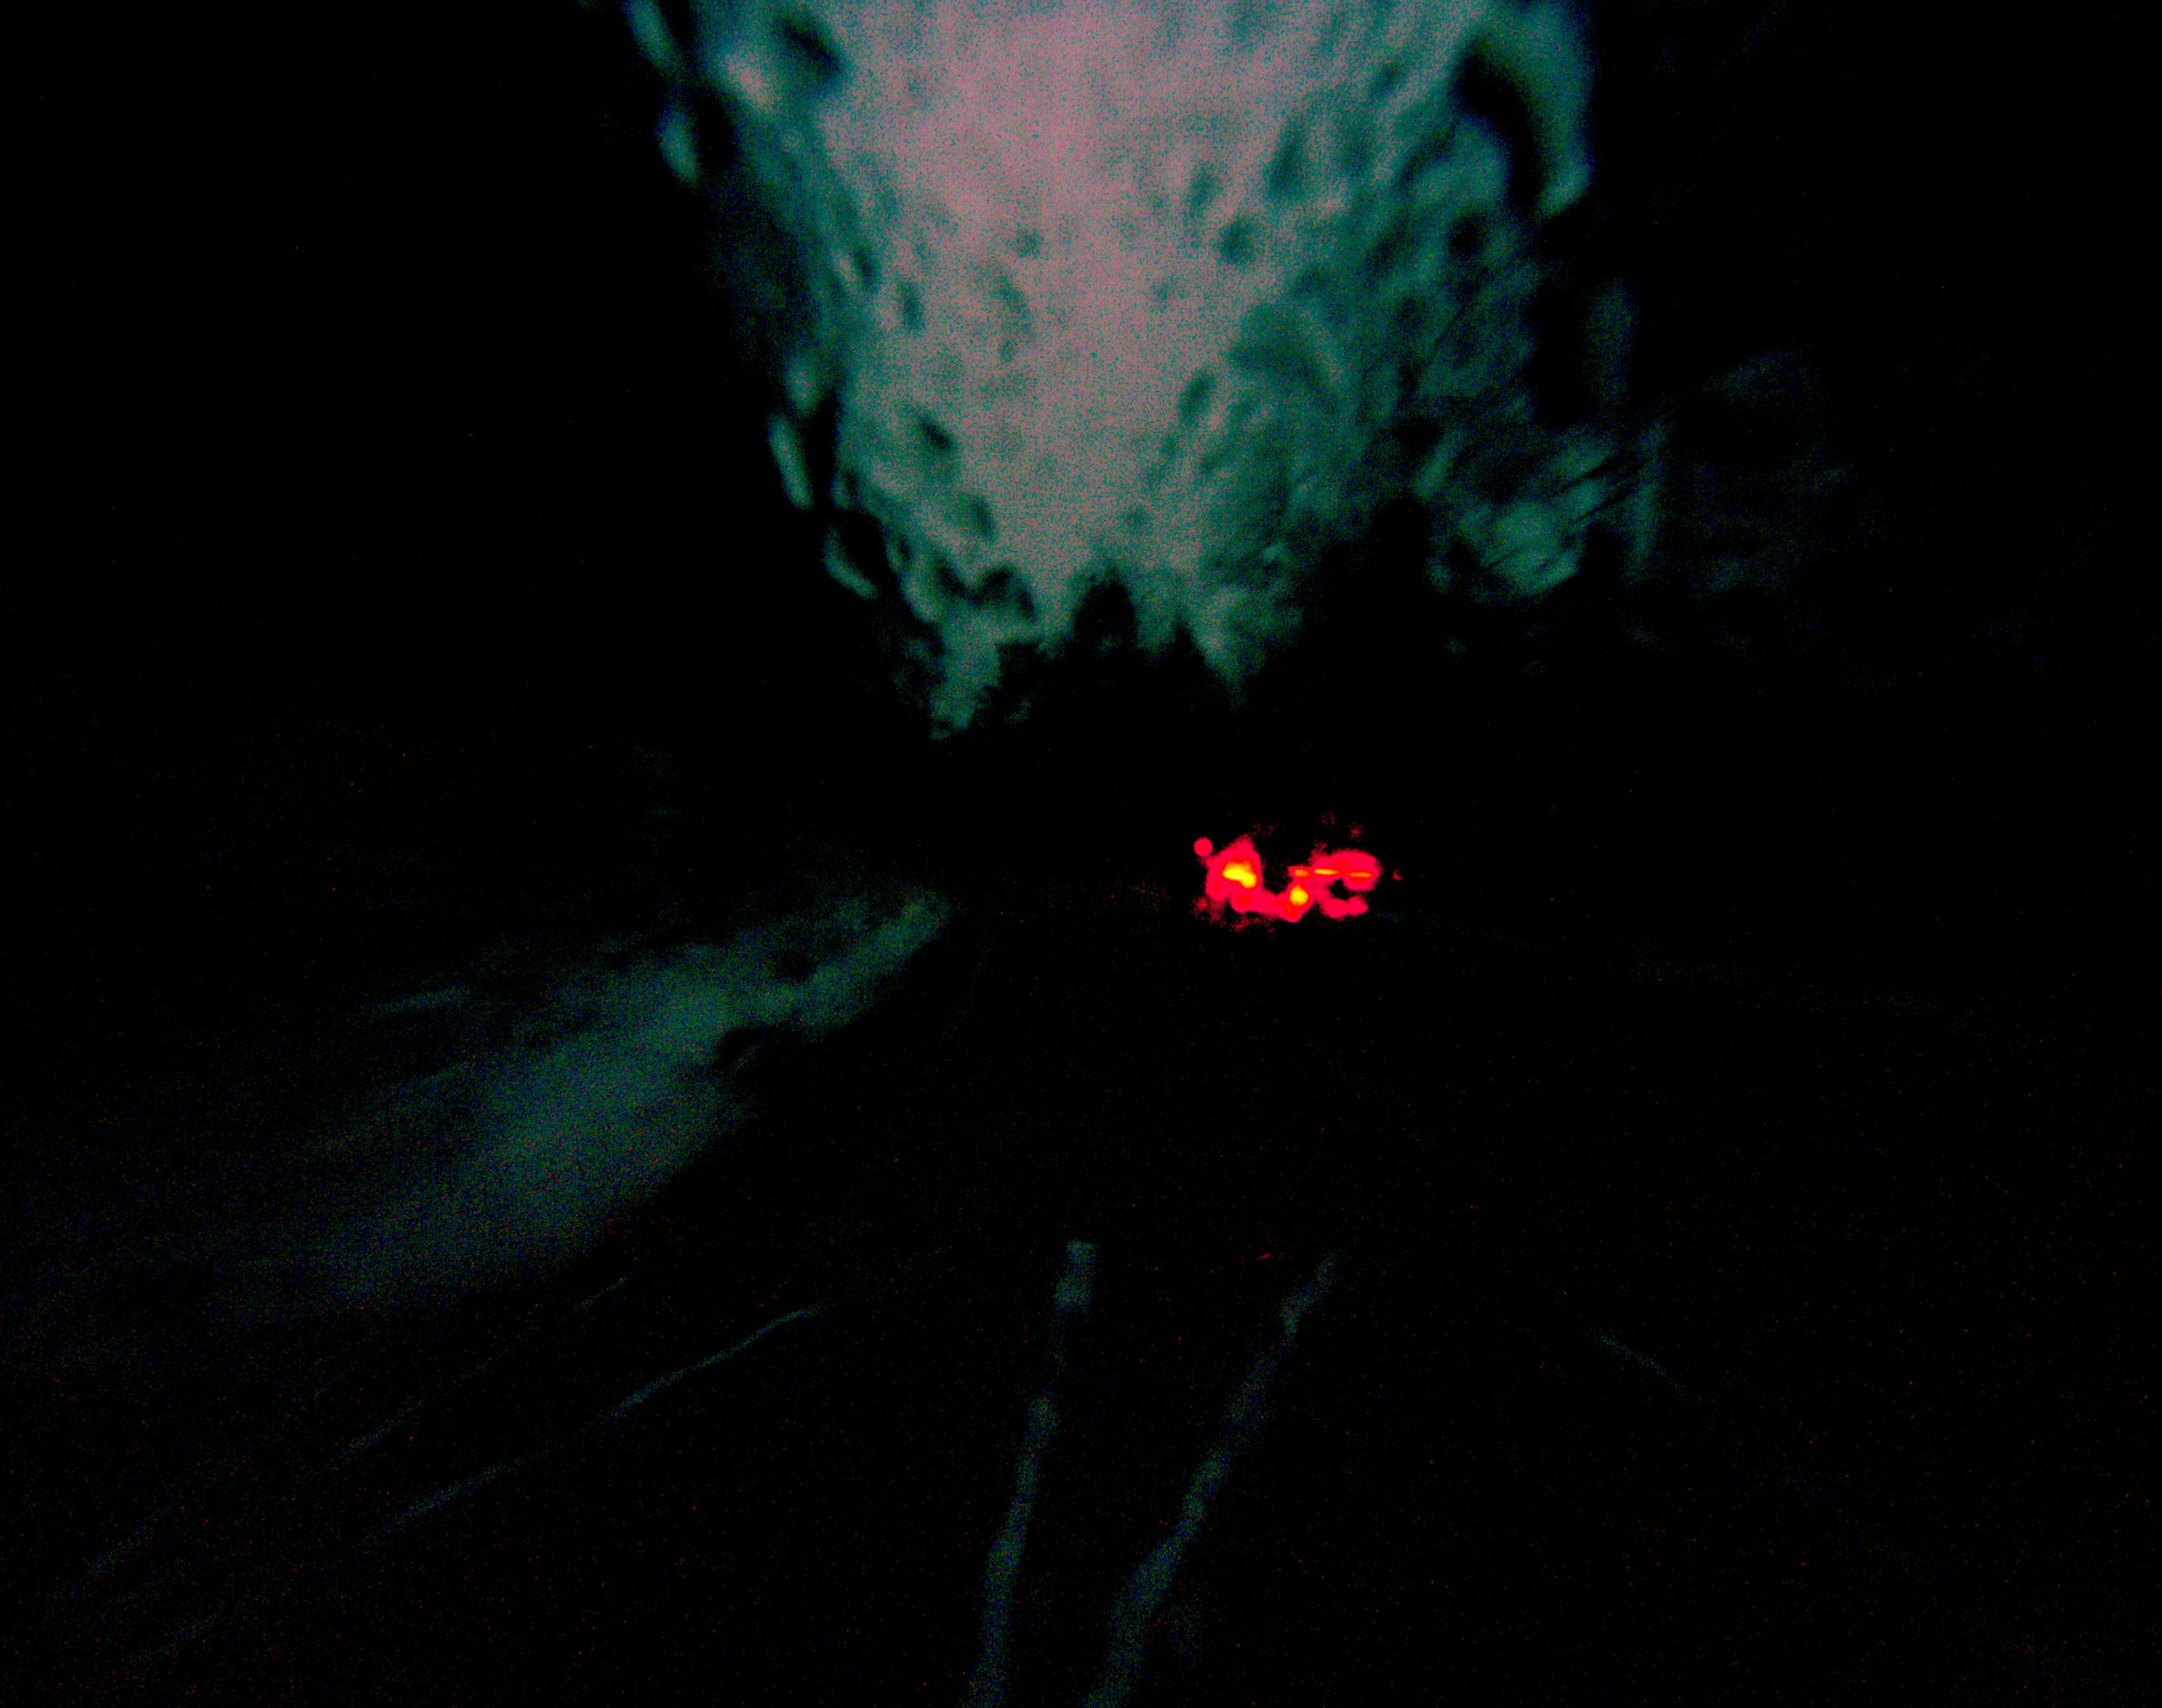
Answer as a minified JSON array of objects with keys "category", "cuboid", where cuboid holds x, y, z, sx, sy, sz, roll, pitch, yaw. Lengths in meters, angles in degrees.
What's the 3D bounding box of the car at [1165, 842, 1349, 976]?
[{"category":"car","cuboid":[2.462,0.671,11.629,1.726,1.620,3.999,-3,1,-2]}]
